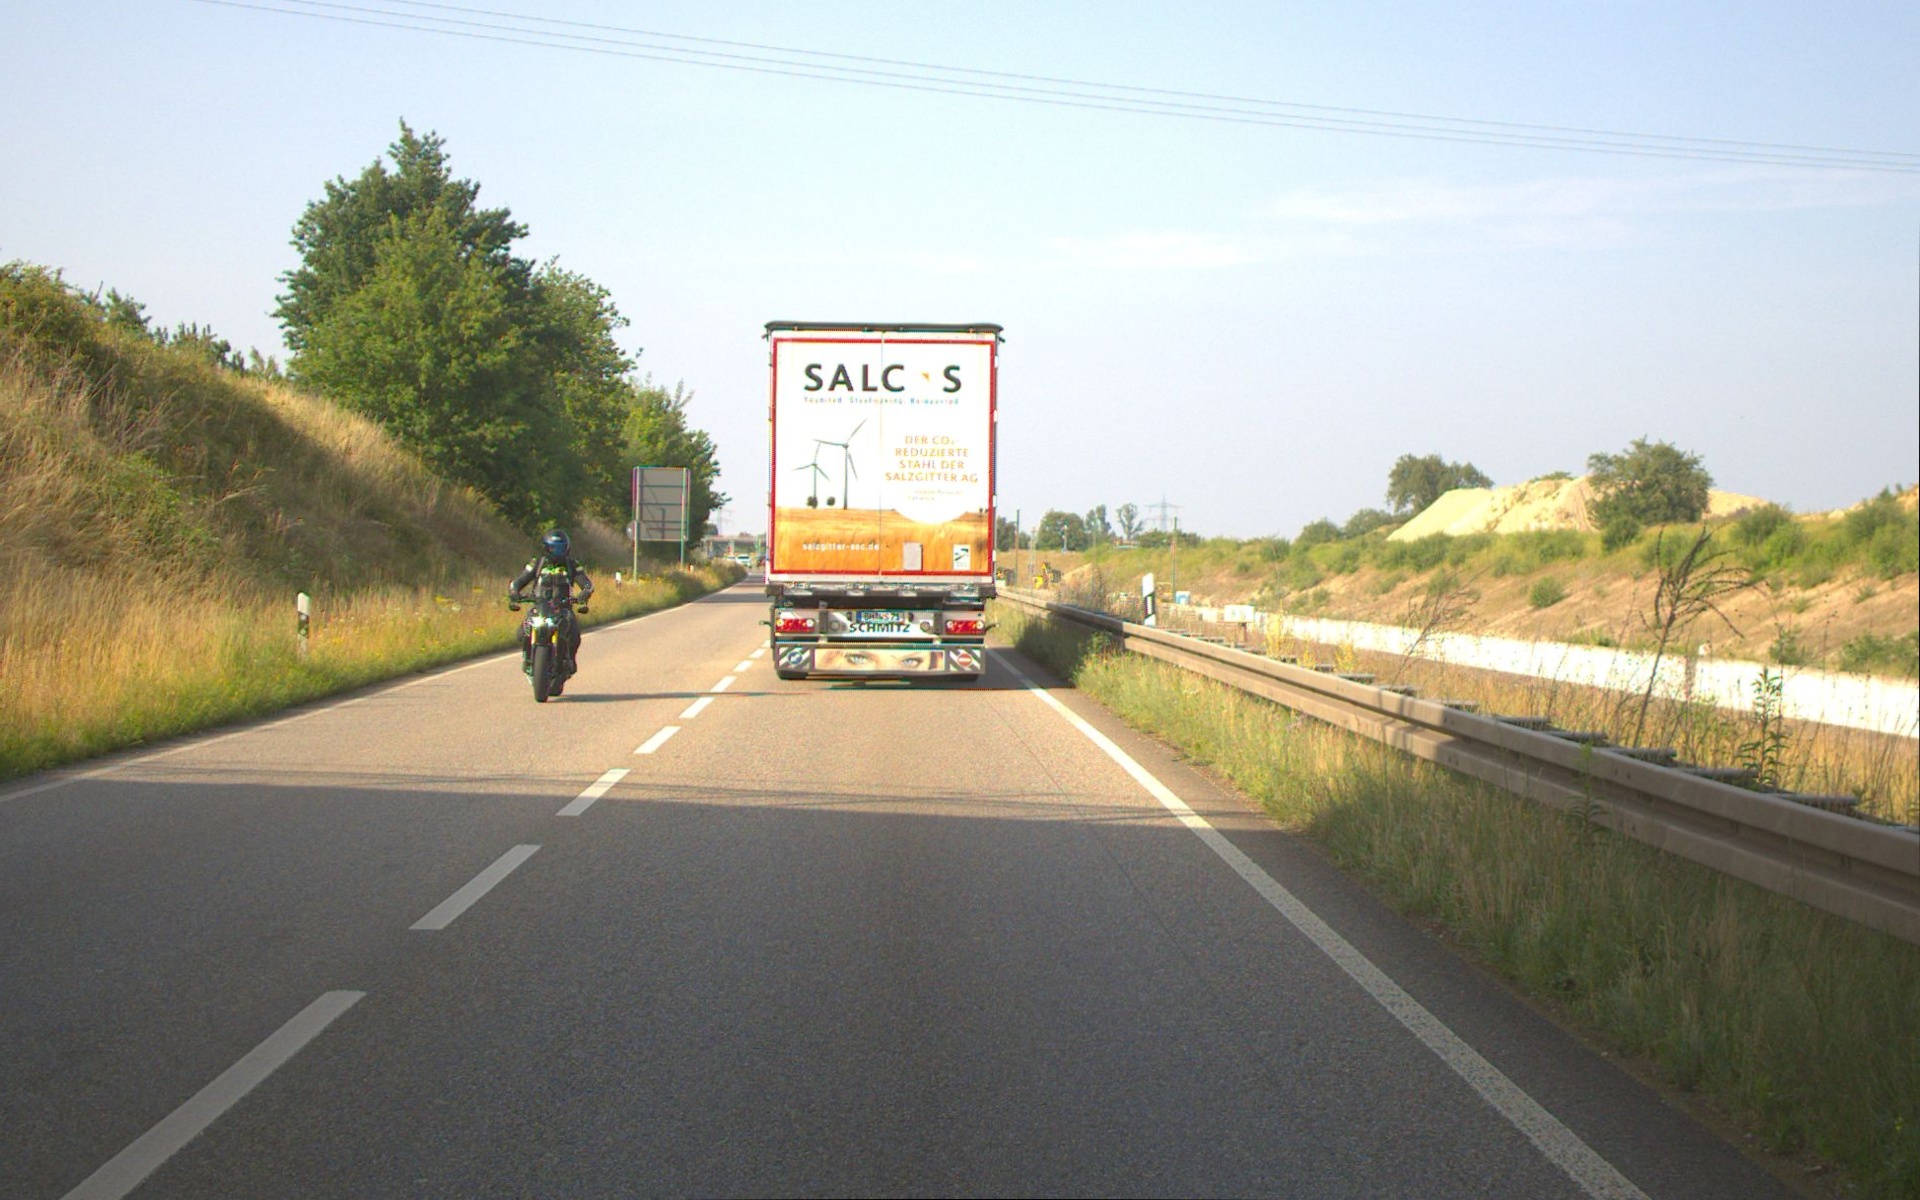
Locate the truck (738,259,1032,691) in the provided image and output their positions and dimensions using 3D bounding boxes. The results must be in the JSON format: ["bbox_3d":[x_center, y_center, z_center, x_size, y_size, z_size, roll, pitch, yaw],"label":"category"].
[{"bbox_3d":[-1.046,-1.397,41.801,3.152,4.672,8.442,1,0,-3],"label":"truck"}]

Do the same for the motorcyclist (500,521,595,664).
[{"bbox_3d":[-4.259,-0.085,35.557,0.879,1.446,1.284,0,0,-3],"label":"motorcyclist"}]

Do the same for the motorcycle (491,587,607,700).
[{"bbox_3d":[-4.233,0.430,35.539,1.041,1.113,2.132,0,1,-3],"label":"motorcycle"}]
